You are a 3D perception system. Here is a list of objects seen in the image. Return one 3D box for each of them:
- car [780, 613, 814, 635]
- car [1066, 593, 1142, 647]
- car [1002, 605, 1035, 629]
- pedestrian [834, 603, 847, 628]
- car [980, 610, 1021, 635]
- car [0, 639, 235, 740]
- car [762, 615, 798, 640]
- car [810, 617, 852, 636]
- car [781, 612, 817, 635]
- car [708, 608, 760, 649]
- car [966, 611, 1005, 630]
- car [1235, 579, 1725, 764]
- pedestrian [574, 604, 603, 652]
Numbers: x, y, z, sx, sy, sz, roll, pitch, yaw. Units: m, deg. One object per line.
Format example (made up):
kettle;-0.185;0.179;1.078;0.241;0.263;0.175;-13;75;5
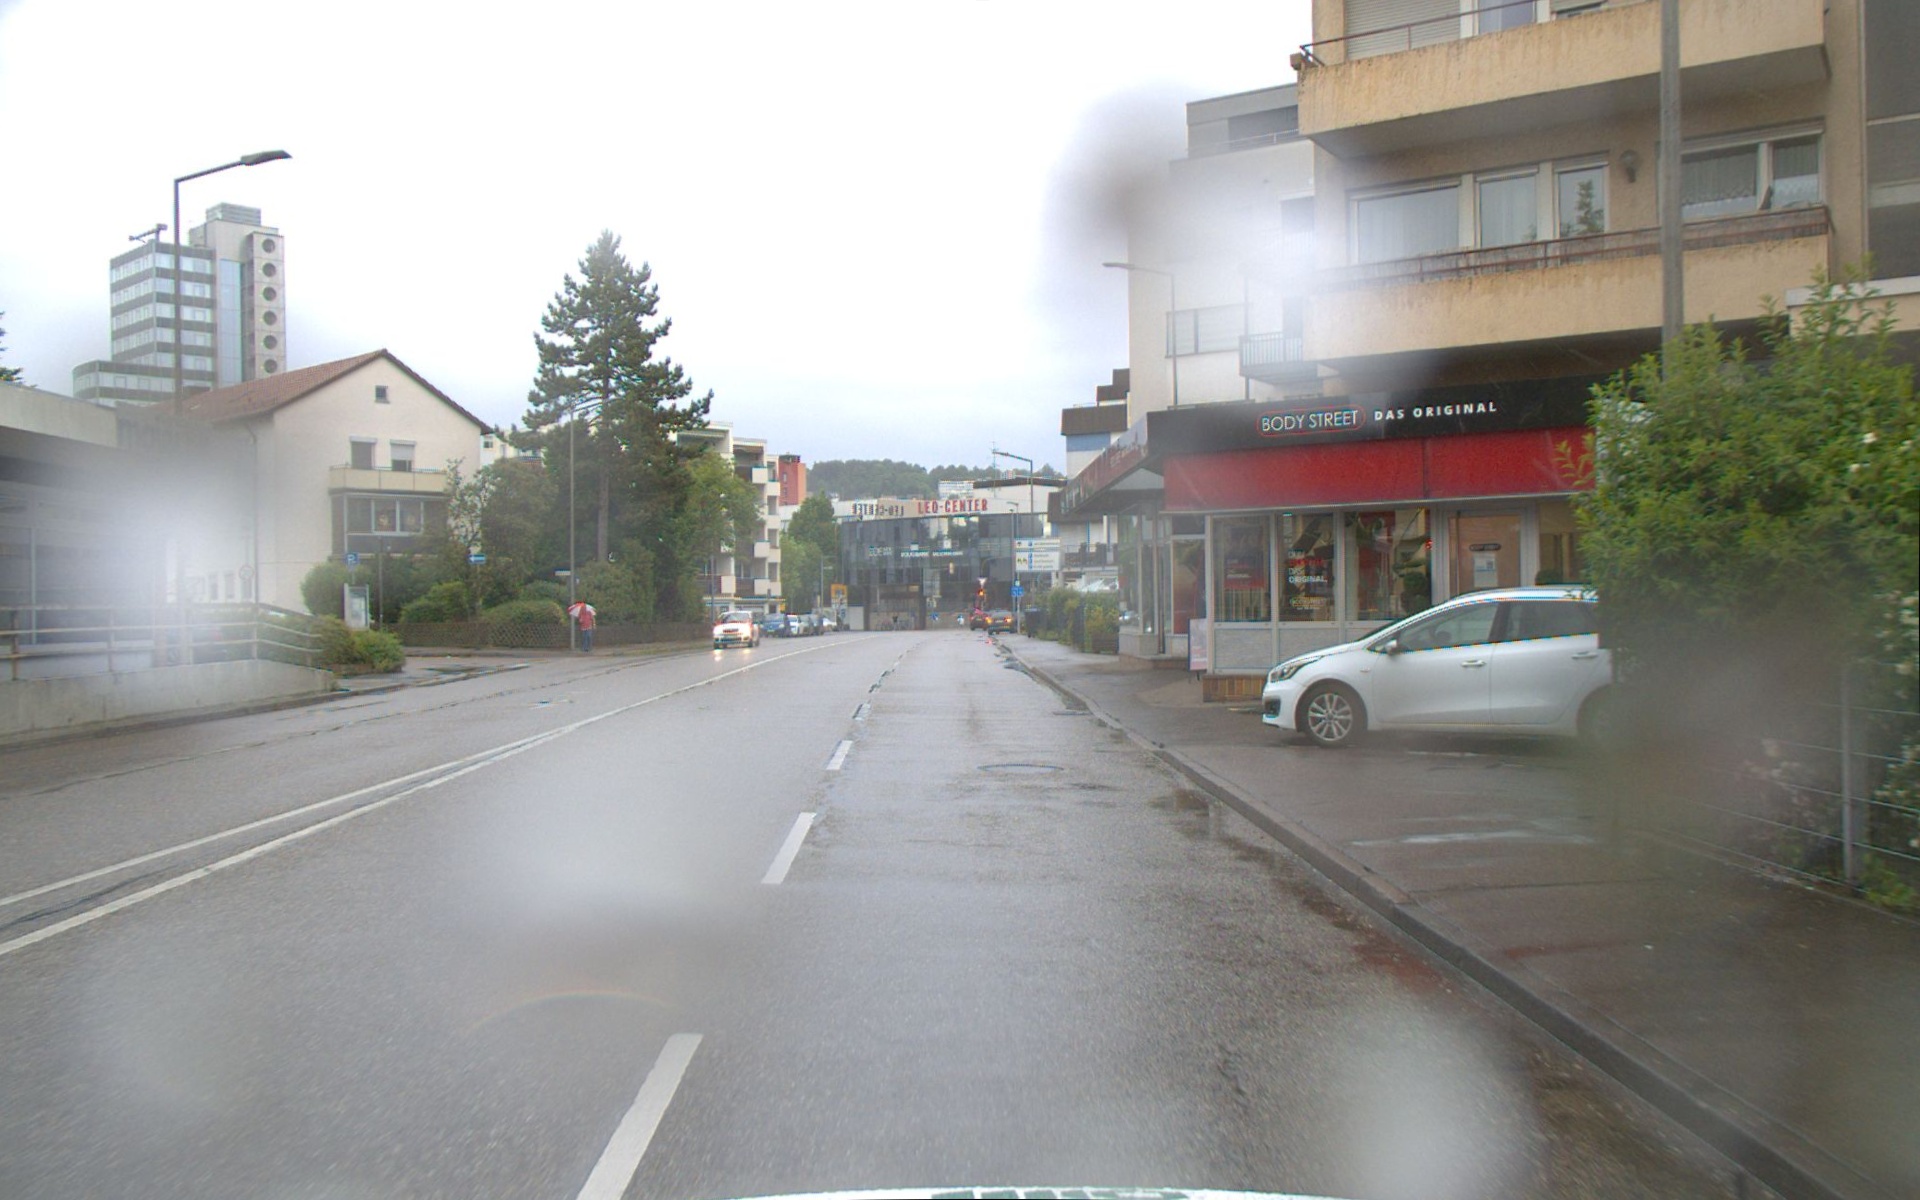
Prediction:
car;-11.051;1.607;112.274;1.658;1.490;4.685;-1;-1;2
car;5.116;0.699;59.372;1.954;1.817;4.686;-1;0;-5
car;4.178;1.191;117.118;1.662;1.512;4.003;-4;-1;10
pedestrian;-10.125;1.298;140.121;0.733;2.049;0.921;3;-1;23
car;2.744;1.532;110.344;1.951;1.561;4.650;0;-2;11
car;-15.521;1.538;29.405;1.964;1.573;4.445;-1;0;41
car;-11.528;1.758;106.133;1.617;1.547;4.325;-1;-1;2
car;-12.360;2.493;158.313;1.977;1.538;4.379;3;1;-35
car;-11.394;1.649;117.429;1.894;1.569;4.522;-1;-1;2
car;-9.236;1.142;67.846;1.664;1.433;3.998;-3;1;-3
car;2.044;1.619;129.978;1.767;1.444;4.000;-1;-1;21
car;4.949;0.585;15.878;4.180;1.520;1.869;0;2;32
pedestrian;-12.751;0.967;56.743;0.853;1.635;1.101;-1;-1;-7
